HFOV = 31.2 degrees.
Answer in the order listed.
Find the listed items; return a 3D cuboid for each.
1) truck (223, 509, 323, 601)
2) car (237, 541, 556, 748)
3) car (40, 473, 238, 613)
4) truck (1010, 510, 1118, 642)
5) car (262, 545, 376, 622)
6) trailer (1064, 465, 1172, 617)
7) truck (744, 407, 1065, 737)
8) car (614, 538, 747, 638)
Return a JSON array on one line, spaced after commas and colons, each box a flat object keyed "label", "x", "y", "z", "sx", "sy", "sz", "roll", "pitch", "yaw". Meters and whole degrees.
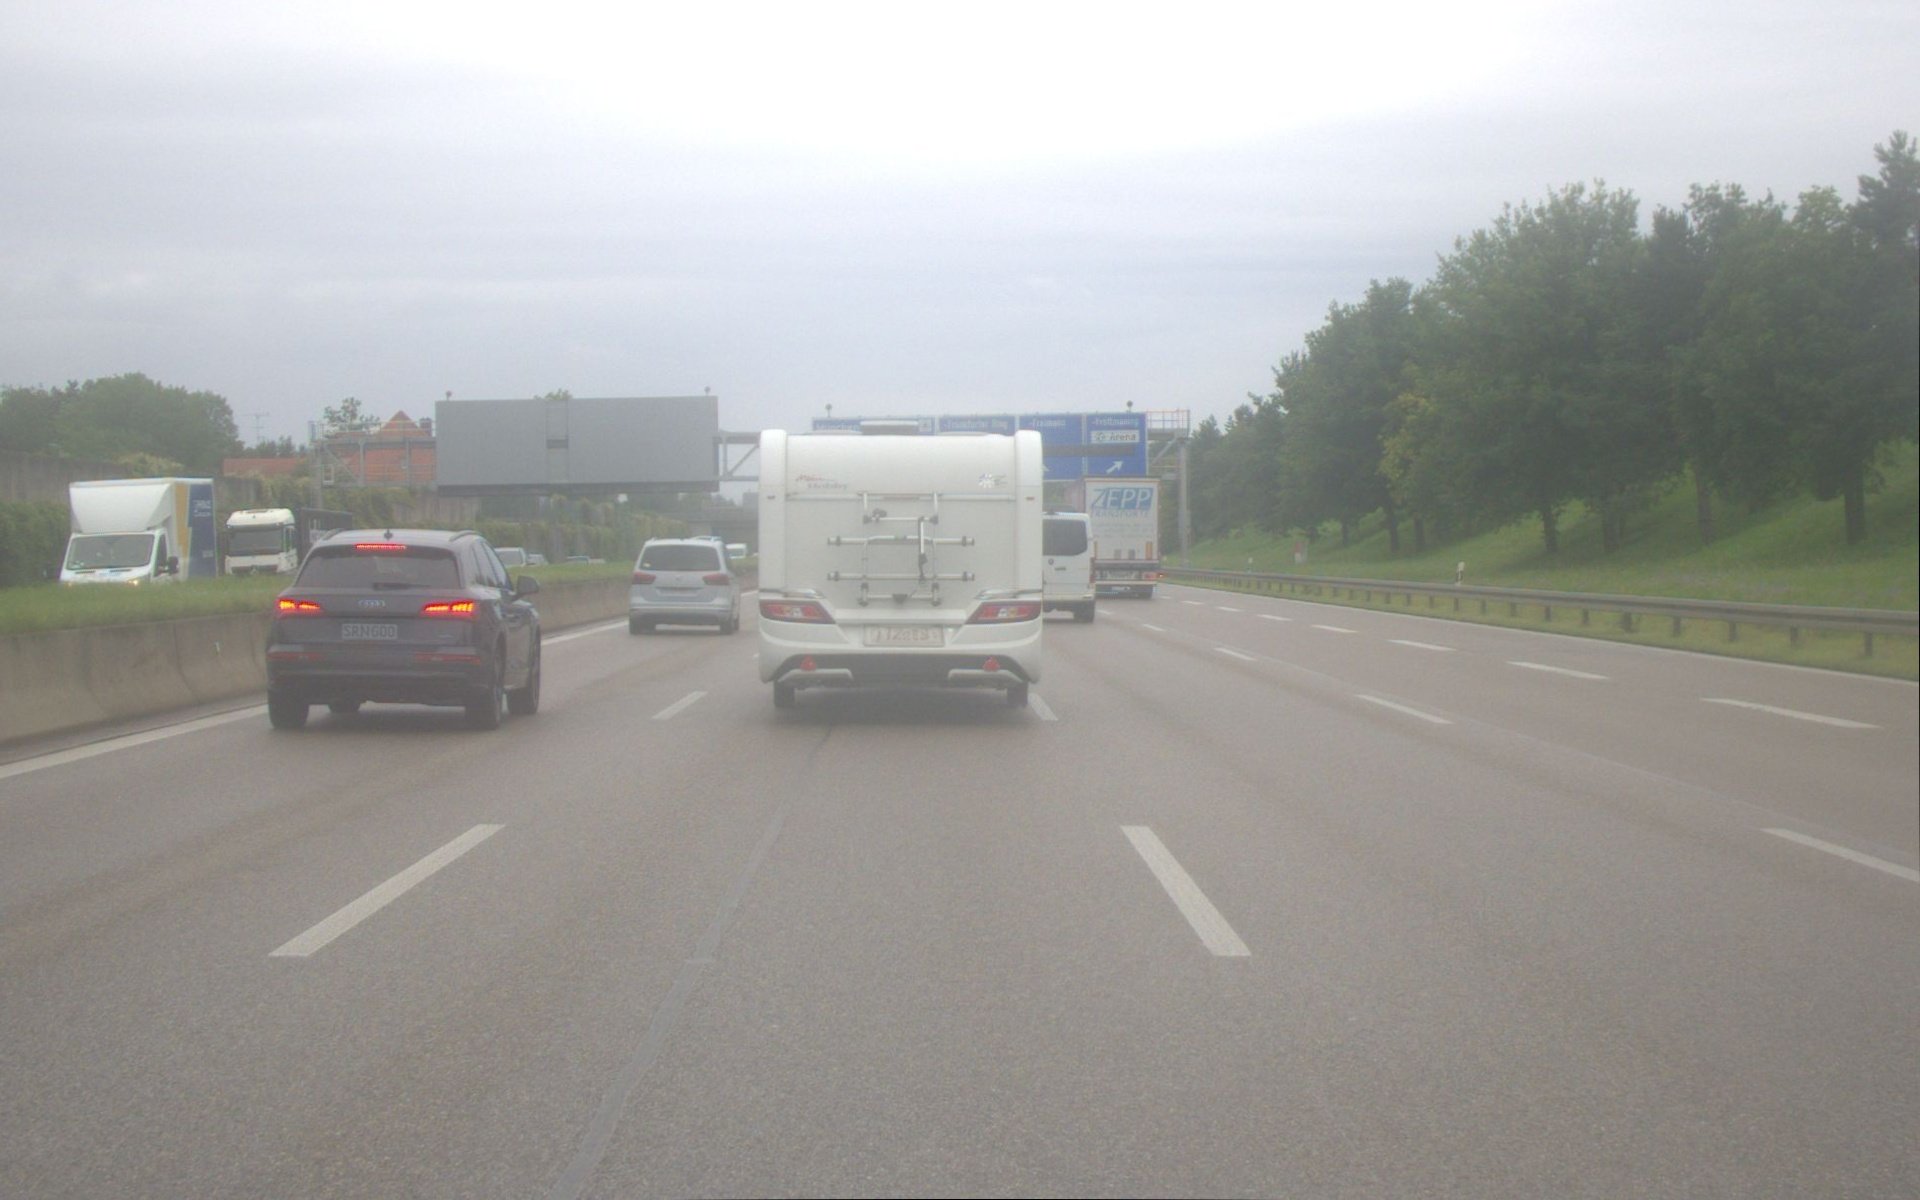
[{"label": "truck", "x": -25.304, "y": -1.628, "z": 126.882, "sx": 2.316, "sy": 3.262, "sz": 6.582, "roll": 1, "pitch": 0, "yaw": 0}, {"label": "car", "x": -4.742, "y": 0.332, "z": 29.642, "sx": 1.993, "sy": 1.594, "sz": 5.124, "roll": 1, "pitch": 0, "yaw": -1}, {"label": "car", "x": -16.972, "y": -1.151, "z": 71.488, "sx": 2.322, "sy": 2.725, "sz": 7.315, "roll": 1, "pitch": 0, "yaw": 0}, {"label": "truck", "x": 2.254, "y": -0.536, "z": 75.907, "sx": 2.053, "sy": 2.760, "sz": 5.549, "roll": 1, "pitch": 0, "yaw": -1}, {"label": "car", "x": -14.405, "y": -0.369, "z": 77.426, "sx": 1.821, "sy": 1.656, "sz": 4.149, "roll": 1, "pitch": 0, "yaw": -1}, {"label": "trailer", "x": 5.327, "y": -1.960, "z": 117.926, "sx": 3.100, "sy": 4.905, "sz": 11.790, "roll": 1, "pitch": 0, "yaw": 0}, {"label": "truck", "x": -0.524, "y": -0.250, "z": 31.493, "sx": 2.661, "sy": 2.733, "sz": 5.078, "roll": 1, "pitch": 0, "yaw": -1}, {"label": "car", "x": -5.011, "y": -0.235, "z": 62.061, "sx": 2.127, "sy": 1.700, "sz": 4.113, "roll": 1, "pitch": 1, "yaw": -1}]
